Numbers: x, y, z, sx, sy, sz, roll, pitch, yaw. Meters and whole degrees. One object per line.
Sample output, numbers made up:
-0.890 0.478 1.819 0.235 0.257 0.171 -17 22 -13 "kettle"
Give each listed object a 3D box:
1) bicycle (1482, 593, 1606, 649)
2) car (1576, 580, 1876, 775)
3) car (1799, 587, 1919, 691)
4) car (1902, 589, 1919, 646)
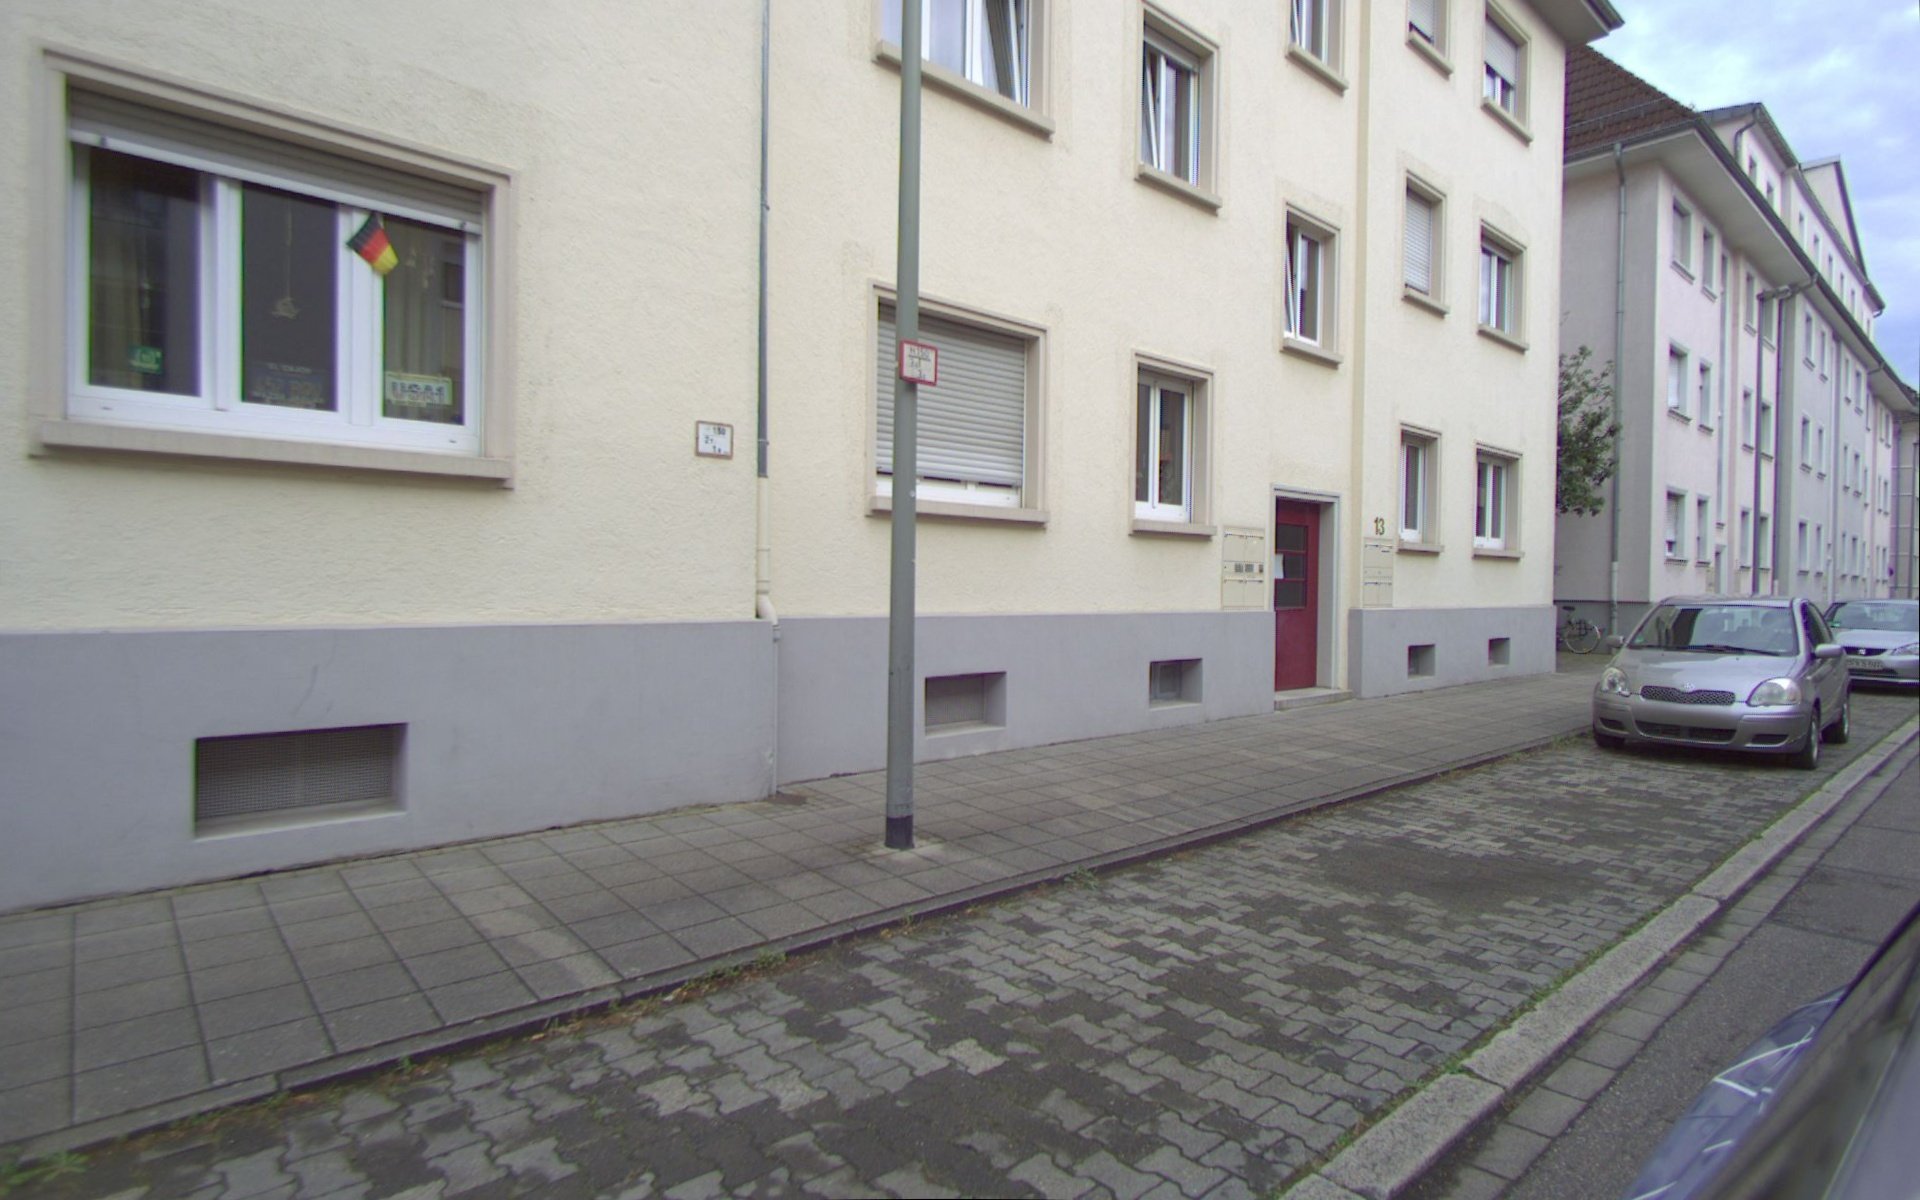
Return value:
12.492 0.419 21.713 0.637 1.090 2.211 0 1 -42 "bicycle"
7.752 0.596 10.102 3.992 1.536 1.727 0 2 -43 "car"
15.273 0.564 16.639 3.991 1.510 1.727 0 1 -42 "car"
26.735 0.460 27.177 4.191 1.487 1.728 0 2 -42 "car"
